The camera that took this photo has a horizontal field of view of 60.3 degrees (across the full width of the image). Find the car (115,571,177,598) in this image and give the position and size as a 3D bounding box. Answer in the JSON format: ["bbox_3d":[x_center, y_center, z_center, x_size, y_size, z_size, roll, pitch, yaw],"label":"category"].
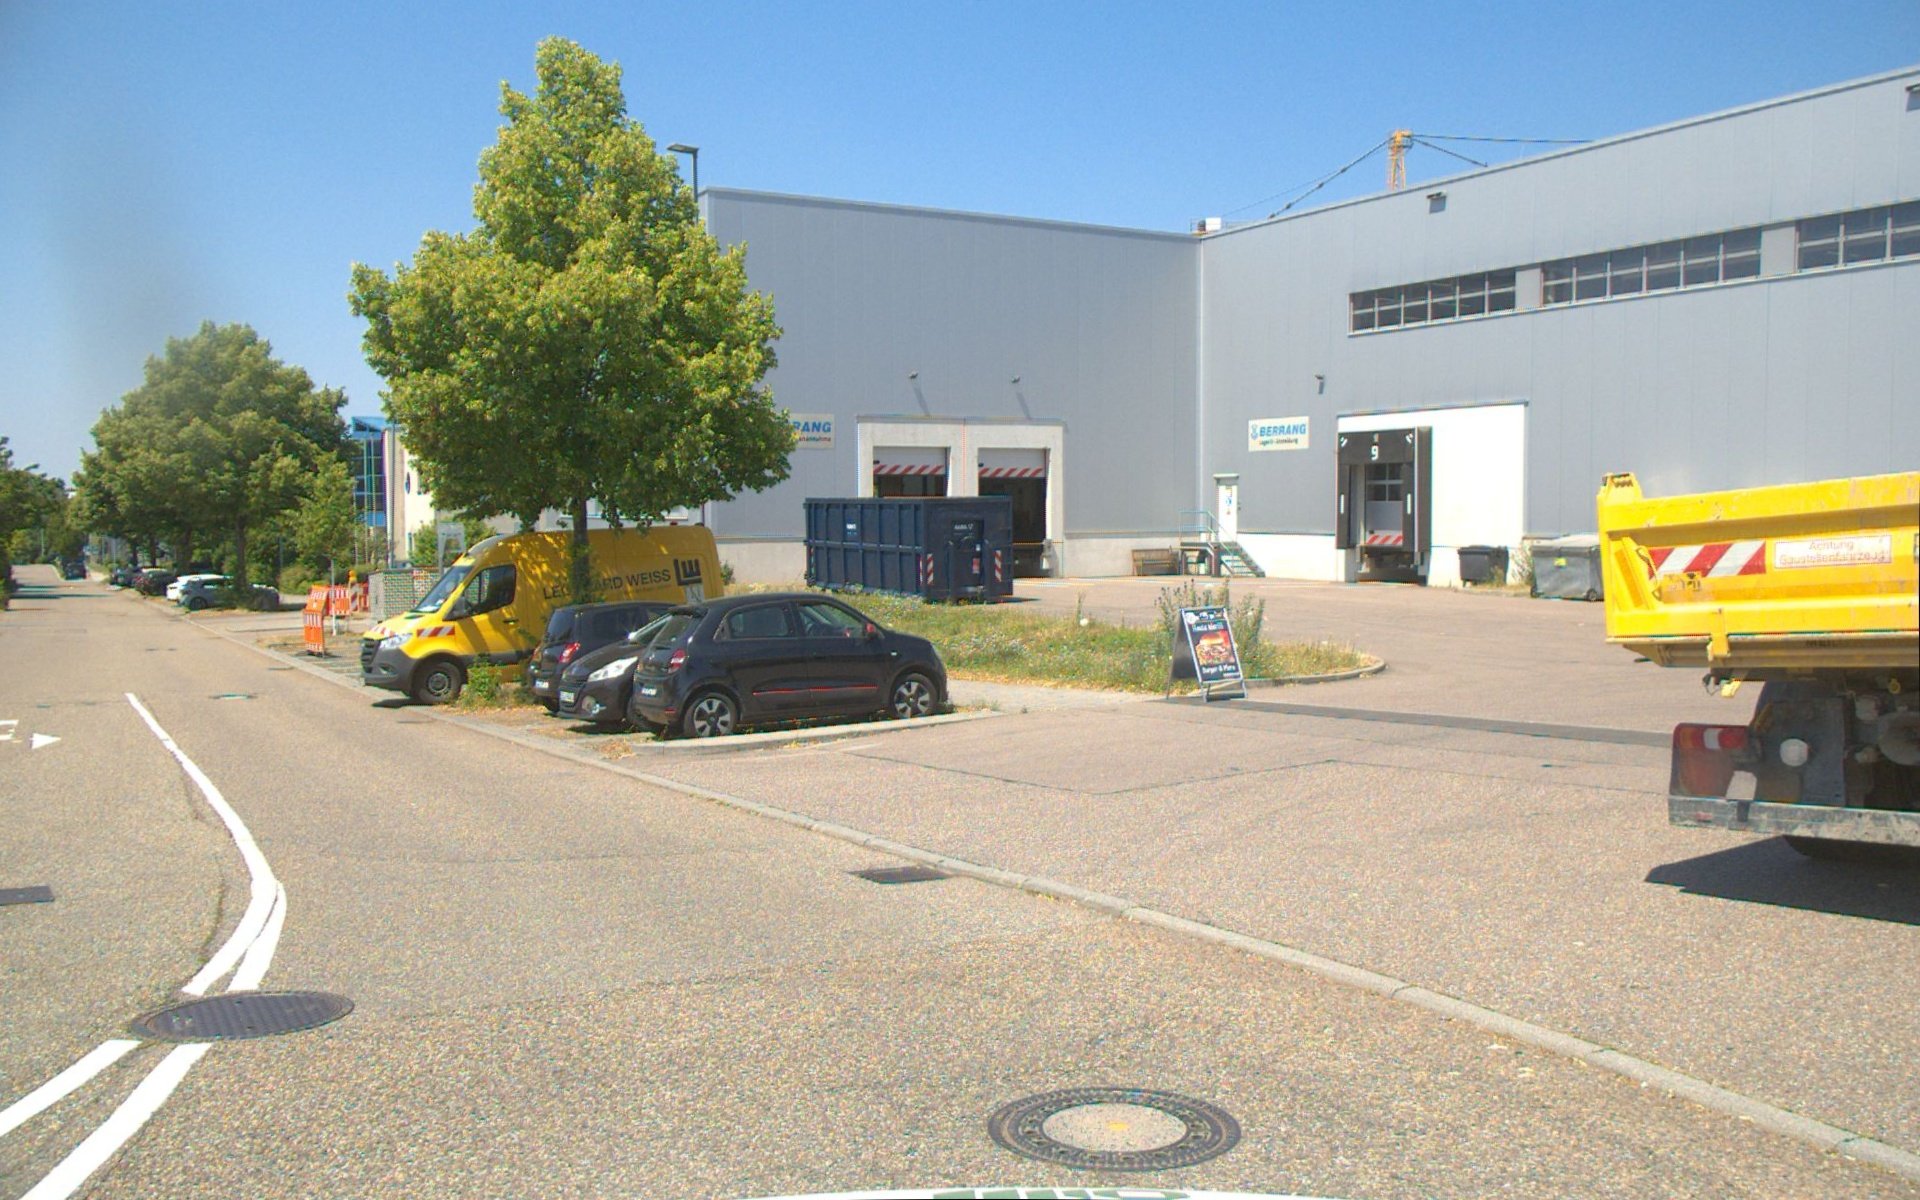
[{"bbox_3d":[-60.873,-1.154,123.694,3.903,1.866,1.744,-1,5,-37],"label":"car"}]

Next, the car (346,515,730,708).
[{"bbox_3d":[-6.824,0.070,27.063,5.723,2.779,1.979,-3,3,-32],"label":"car"}]

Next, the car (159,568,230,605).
[{"bbox_3d":[-45.122,-0.800,97.504,3.683,2.147,1.796,-1,1,-30],"label":"car"}]

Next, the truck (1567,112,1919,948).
[{"bbox_3d":[6.167,-0.453,8.277,6.349,3.190,2.565,-4,2,-34],"label":"truck"}]

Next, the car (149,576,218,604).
[{"bbox_3d":[-47.113,-0.625,100.405,3.683,1.655,1.796,-1,1,-30],"label":"car"}]

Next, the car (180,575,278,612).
[{"bbox_3d":[-31.901,-0.296,72.193,3.648,1.377,1.626,-5,3,-34],"label":"car"}]

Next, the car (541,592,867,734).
[{"bbox_3d":[-3.176,0.716,20.756,3.734,1.533,1.573,-2,1,-32],"label":"car"}]

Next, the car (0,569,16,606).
[{"bbox_3d":[-40.064,-0.498,67.050,3.034,1.504,1.276,0,1,-36],"label":"car"}]

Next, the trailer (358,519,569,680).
[{"bbox_3d":[-10.208,-0.083,33.676,2.632,2.906,5.457,-4,3,-33],"label":"trailer"}]

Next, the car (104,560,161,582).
[{"bbox_3d":[-67.158,-2.375,134.245,3.903,1.604,1.744,-1,5,-37],"label":"car"}]

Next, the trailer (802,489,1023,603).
[{"bbox_3d":[-1.374,-1.461,41.579,2.628,2.462,7.352,0,5,-27],"label":"trailer"}]

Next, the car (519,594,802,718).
[{"bbox_3d":[-4.170,0.726,23.149,3.567,1.504,1.611,-2,1,-32],"label":"car"}]

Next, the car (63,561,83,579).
[{"bbox_3d":[-89.110,-3.042,166.215,1.741,1.786,3.907,-1,1,-28],"label":"car"}]

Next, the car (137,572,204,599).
[{"bbox_3d":[-49.973,-0.933,104.704,3.683,1.655,1.796,-1,1,-30],"label":"car"}]

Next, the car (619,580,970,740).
[{"bbox_3d":[-1.862,0.607,18.874,3.622,1.487,1.611,-4,2,-30],"label":"car"}]

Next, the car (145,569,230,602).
[{"bbox_3d":[-37.485,-0.742,80.247,3.487,1.377,1.520,-5,3,-34],"label":"car"}]
